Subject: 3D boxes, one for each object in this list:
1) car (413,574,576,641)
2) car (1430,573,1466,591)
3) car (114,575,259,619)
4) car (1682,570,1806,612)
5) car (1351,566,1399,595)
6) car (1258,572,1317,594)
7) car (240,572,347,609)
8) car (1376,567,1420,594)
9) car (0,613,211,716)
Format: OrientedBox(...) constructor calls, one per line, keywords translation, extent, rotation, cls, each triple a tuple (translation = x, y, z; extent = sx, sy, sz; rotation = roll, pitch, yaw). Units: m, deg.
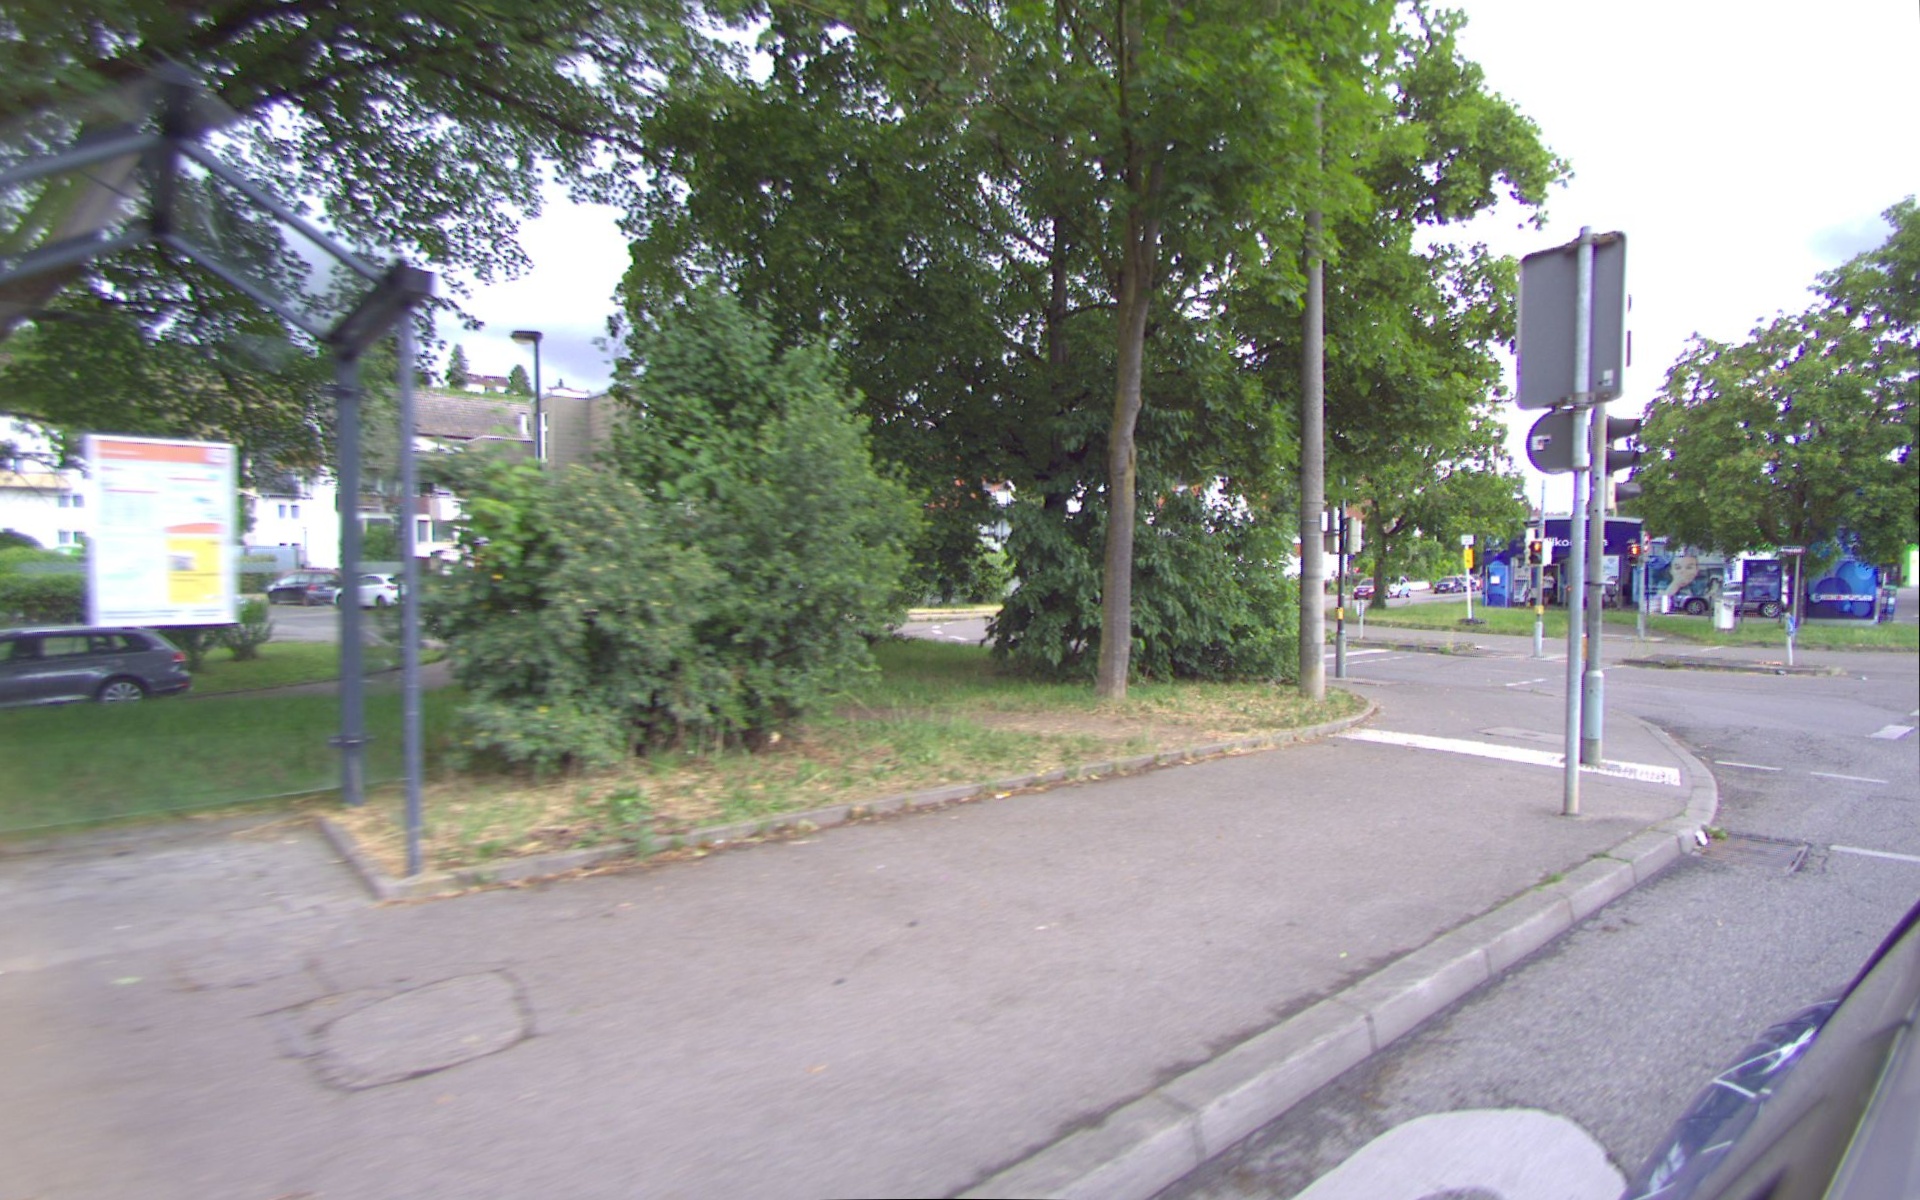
OrientedBox(translation=(-13.411, 0.221, 29.221), extent=(3.942, 1.788, 1.991), rotation=(-1, 0, 15), cls="car")
OrientedBox(translation=(42.625, -1.583, 88.339), extent=(1.990, 1.483, 3.944), rotation=(-1, 0, 39), cls="car")
OrientedBox(translation=(-27.345, -0.099, 35.793), extent=(4.411, 1.444, 1.988), rotation=(-1, 0, 19), cls="car")
OrientedBox(translation=(35.154, -0.441, 45.543), extent=(4.181, 1.718, 1.819), rotation=(2, 2, 32), cls="car")
OrientedBox(translation=(28.663, -1.342, 69.851), extent=(1.937, 1.866, 4.194), rotation=(-1, 0, 38), cls="car")
OrientedBox(translation=(22.659, -1.165, 70.092), extent=(1.743, 1.475, 3.555), rotation=(-1, 0, -38), cls="car")
OrientedBox(translation=(-29.223, -0.419, 44.407), extent=(3.950, 1.536, 1.987), rotation=(1, 1, 20), cls="car")
OrientedBox(translation=(32.180, -1.442, 74.285), extent=(1.937, 1.866, 4.405), rotation=(-1, 0, 38), cls="car")
OrientedBox(translation=(-14.735, 1.009, 16.121), extent=(1.655, 1.480, 4.232), rotation=(-1, 0, 37), cls="car")
